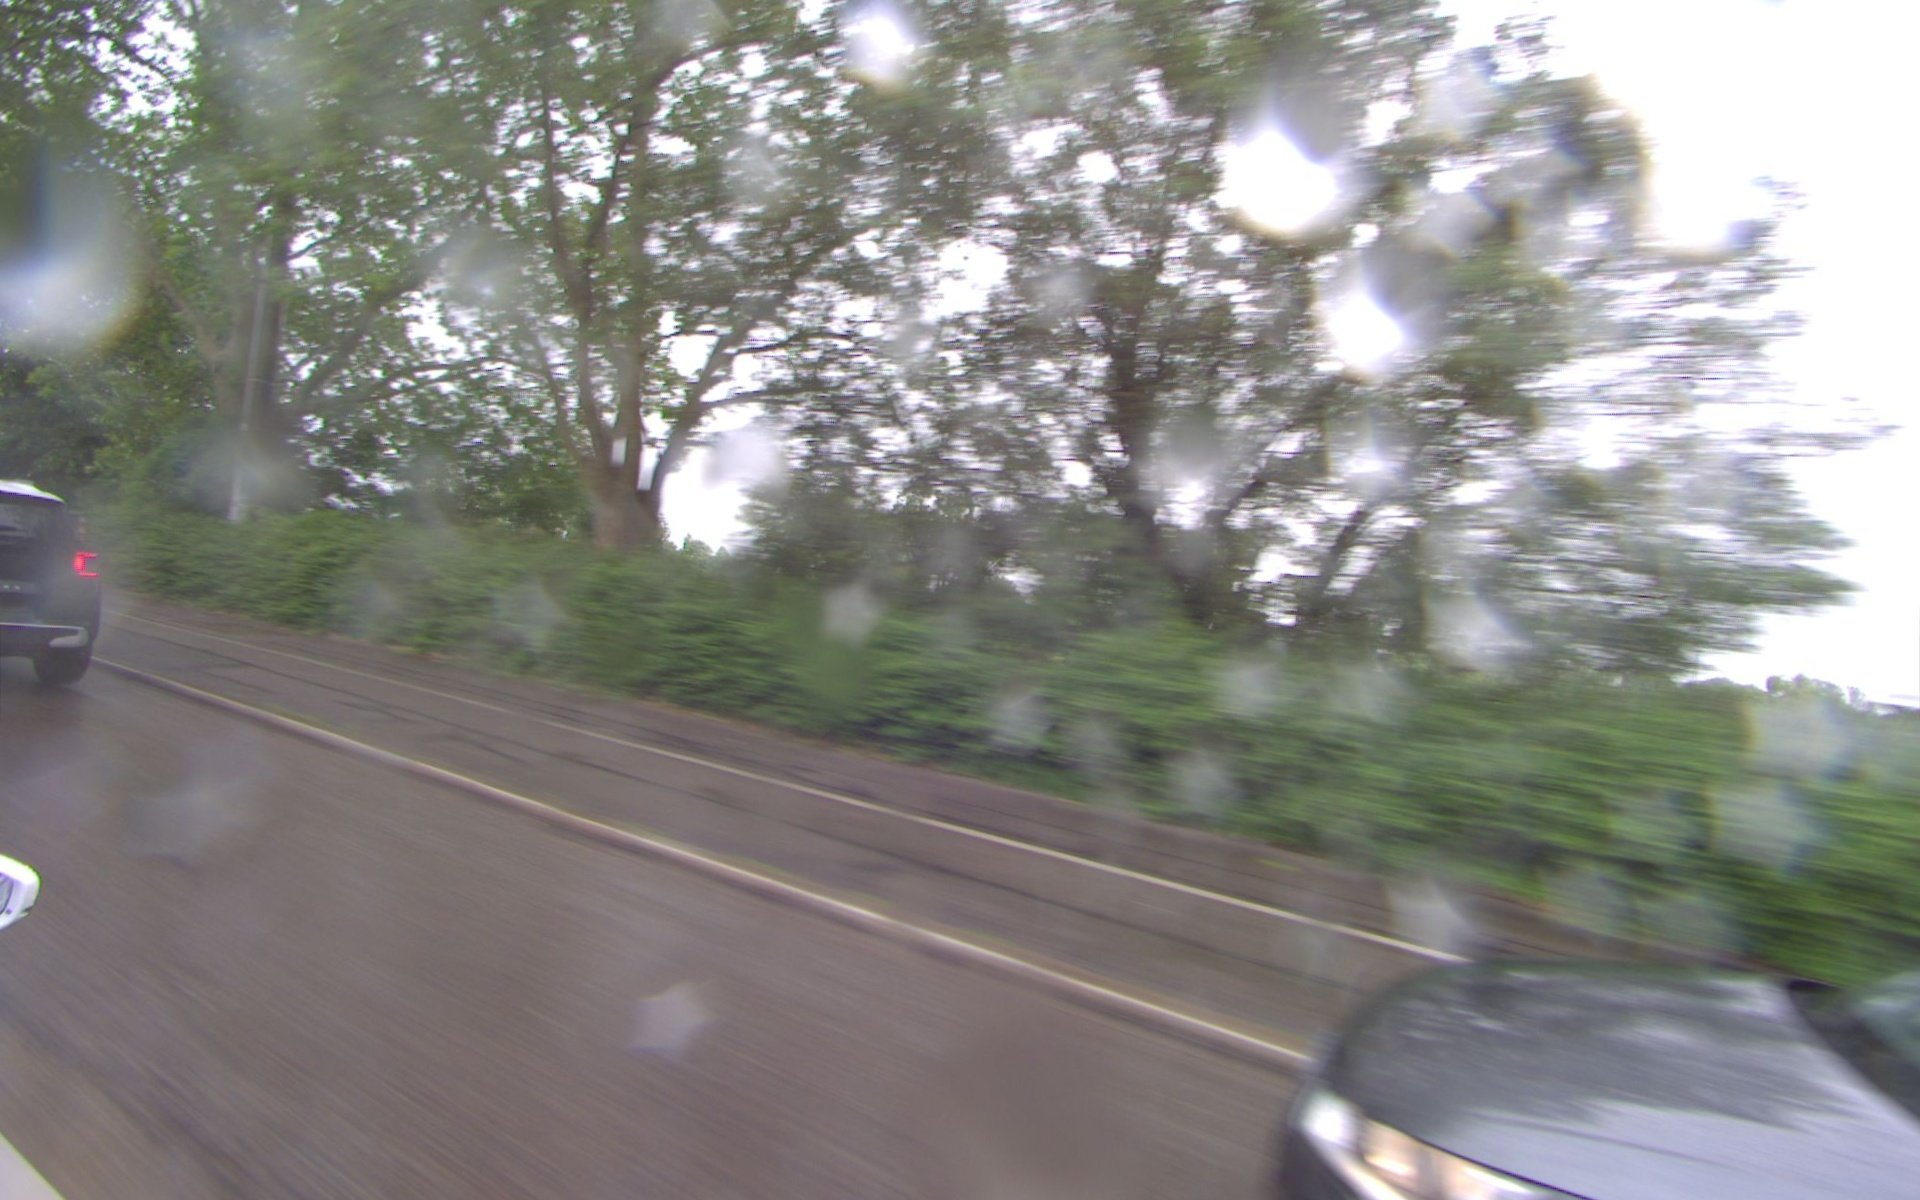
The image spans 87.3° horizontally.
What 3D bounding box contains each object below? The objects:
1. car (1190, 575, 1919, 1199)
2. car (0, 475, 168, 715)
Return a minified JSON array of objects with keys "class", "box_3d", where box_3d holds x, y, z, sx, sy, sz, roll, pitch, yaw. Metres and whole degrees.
[{"class":"car","box_3d":[2.577,1.061,1.558,3.922,1.546,1.973,8,-1,30]},{"class":"car","box_3d":[-8.941,-0.310,8.405,4.645,1.737,1.904,8,-1,30]}]
